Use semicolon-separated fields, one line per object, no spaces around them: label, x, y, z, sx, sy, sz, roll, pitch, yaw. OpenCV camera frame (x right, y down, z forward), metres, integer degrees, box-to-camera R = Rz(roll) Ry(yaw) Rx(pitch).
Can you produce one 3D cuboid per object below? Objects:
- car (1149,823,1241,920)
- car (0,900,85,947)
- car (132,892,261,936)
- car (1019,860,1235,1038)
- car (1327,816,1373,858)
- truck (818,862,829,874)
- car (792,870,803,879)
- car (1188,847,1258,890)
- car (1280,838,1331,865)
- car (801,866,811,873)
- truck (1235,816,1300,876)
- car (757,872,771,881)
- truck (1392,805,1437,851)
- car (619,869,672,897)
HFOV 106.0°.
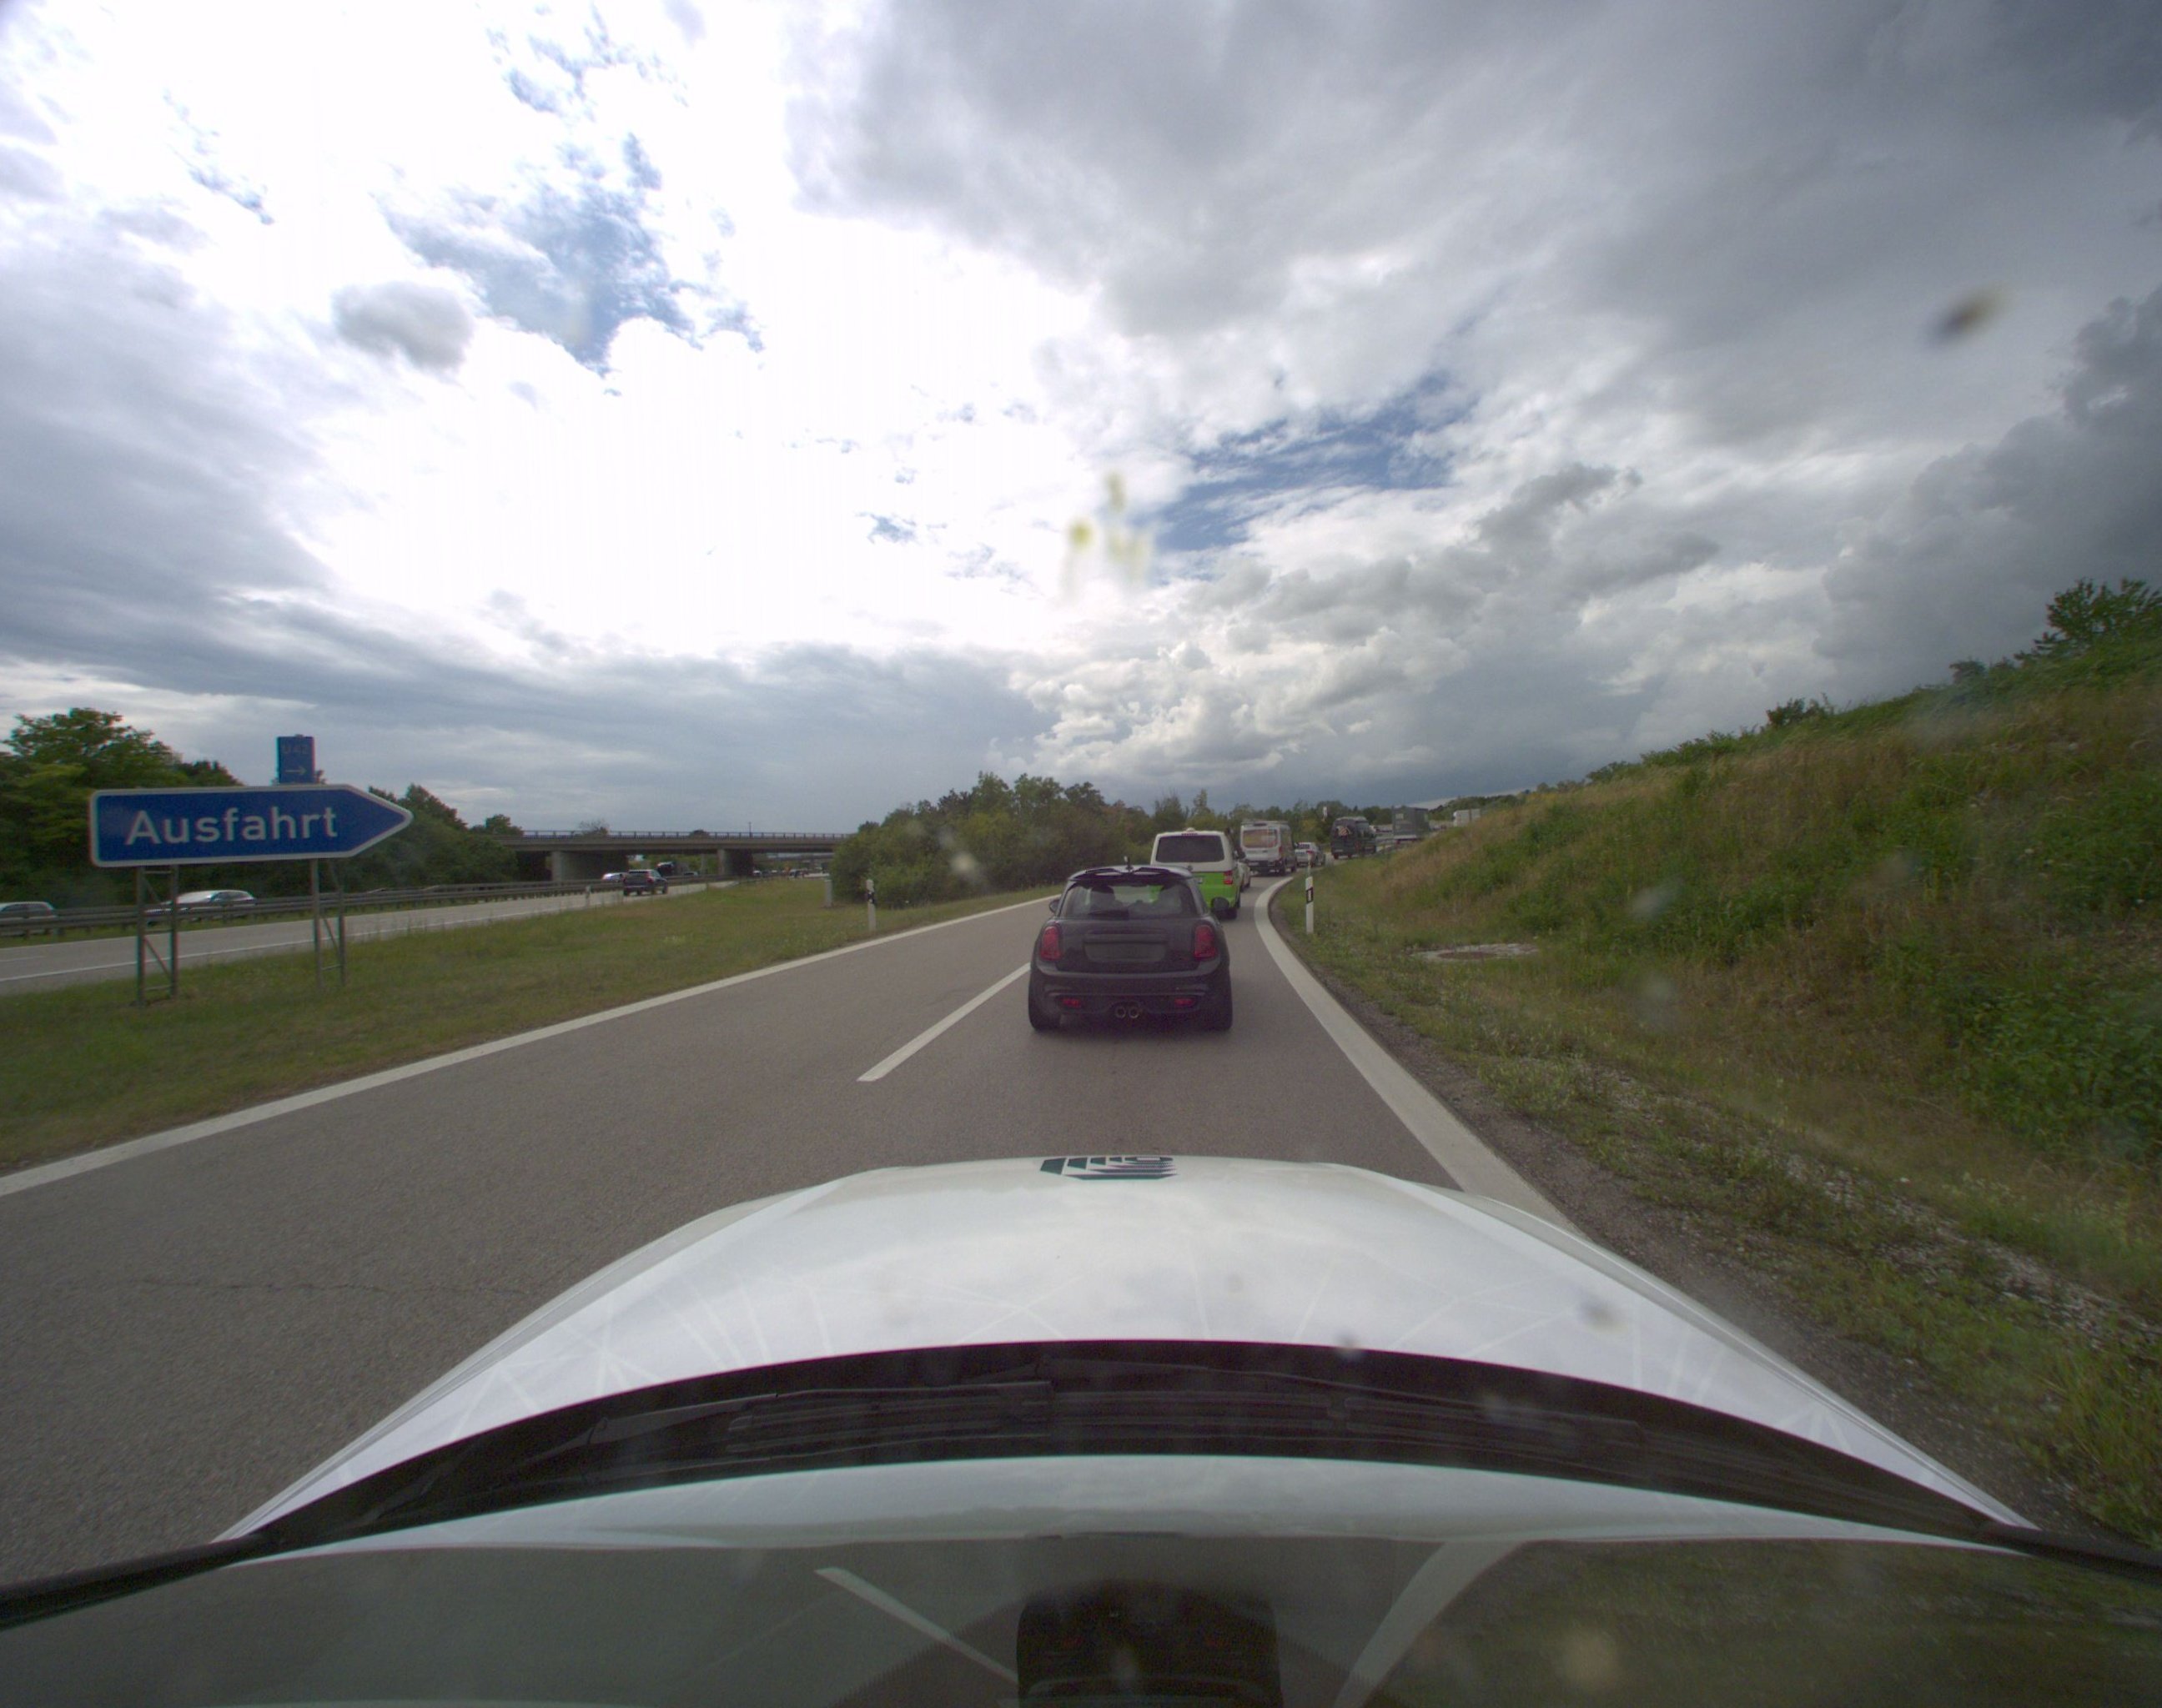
car;2.745;0.390;18.934;1.772;2.014;4.013;-1;-1;12
car;-41.334;2.678;31.208;1.997;1.629;3.980;-2;-1;-15
car;-37.636;2.498;34.796;1.877;1.574;3.978;-2;-1;-16
car;0.553;0.785;8.401;1.718;1.413;3.731;-1;-1;6
car;18.752;-1.145;56.649;2.084;2.796;4.025;-1;0;32
truck;-77.247;4.327;244.434;2.472;3.371;7.882;-2;-1;-15
car;-56.120;4.038;161.122;1.721;1.519;3.978;-2;-1;-16
car;5.086;0.495;28.822;1.747;1.399;3.744;-2;-1;20
car;13.163;-0.141;47.639;1.848;1.510;4.025;-2;-1;31
car;-73.003;4.225;216.434;1.997;1.743;4.804;-2;-1;-15
truck;9.148;-0.392;39.614;2.159;2.658;5.136;-2;0;22
car;-55.260;3.982;141.986;1.840;1.453;4.354;-2;-1;-16
truck;30.574;-2.297;74.593;2.207;3.907;6.054;-2;-2;38
car;-29.987;1.973;56.201;1.996;1.761;4.901;-2;-1;-14
